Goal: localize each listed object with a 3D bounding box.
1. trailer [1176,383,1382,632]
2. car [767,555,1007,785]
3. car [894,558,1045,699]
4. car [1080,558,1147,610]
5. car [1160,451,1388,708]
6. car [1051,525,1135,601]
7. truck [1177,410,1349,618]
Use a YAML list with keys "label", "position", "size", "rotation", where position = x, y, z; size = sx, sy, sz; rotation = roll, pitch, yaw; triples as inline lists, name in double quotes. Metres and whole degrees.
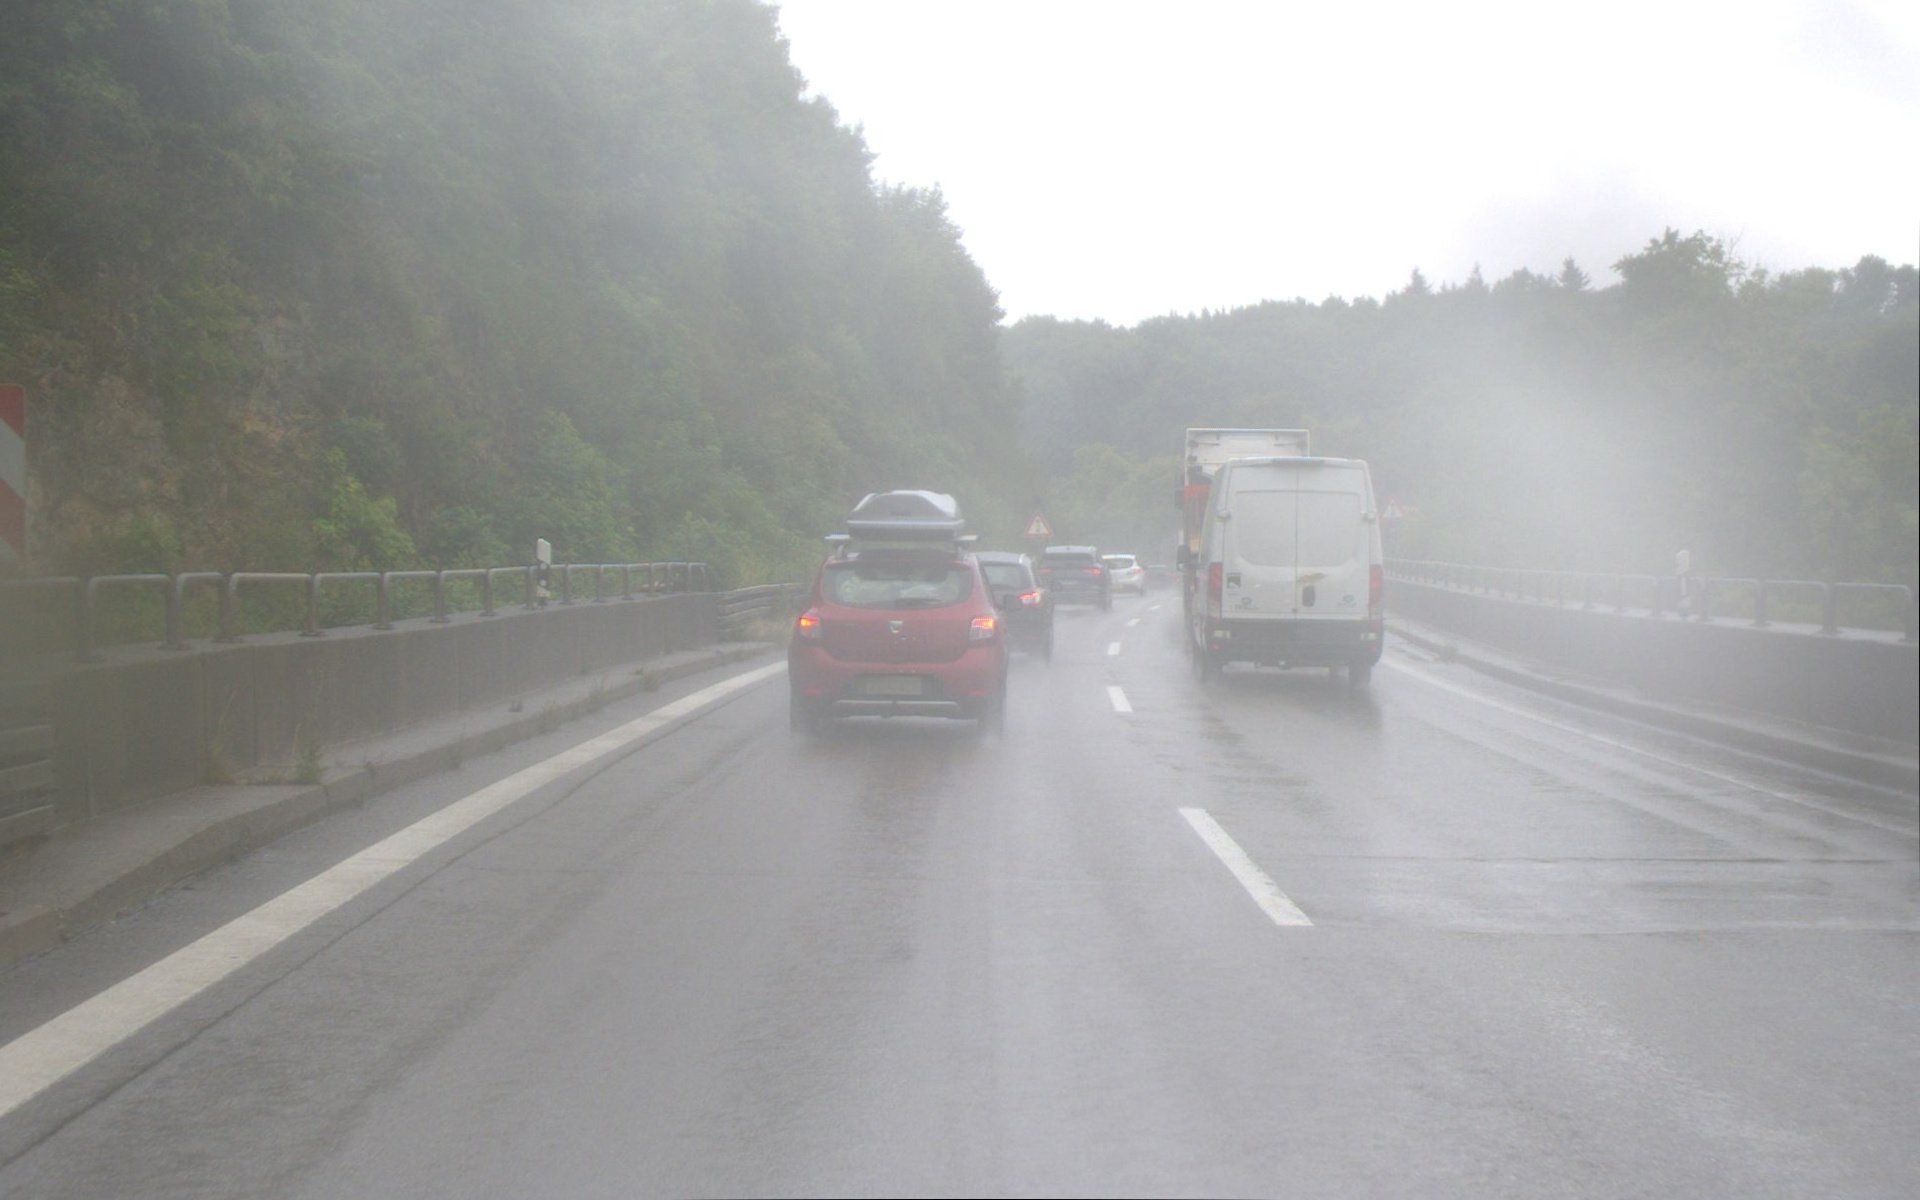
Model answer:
- label: "trailer"
  position: [5.606, -1.593, 62.563]
  size: [3.219, 3.985, 13.522]
  rotation: [-1, 1, 3]
- label: "car"
  position: [-0.554, 0.519, 28.413]
  size: [1.758, 1.679, 4.000]
  rotation: [-3, 0, 0]
- label: "car"
  position: [0.122, 0.345, 45.687]
  size: [1.833, 1.709, 3.645]
  rotation: [-3, 0, 0]
- label: "car"
  position: [5.177, -0.554, 115.579]
  size: [1.994, 1.634, 3.999]
  rotation: [-3, 0, 5]
- label: "car"
  position: [3.629, -0.278, 41.072]
  size: [2.206, 2.784, 7.382]
  rotation: [0, 1, 1]
- label: "car"
  position: [3.257, -0.900, 83.591]
  size: [1.875, 1.700, 3.888]
  rotation: [-3, 0, 4]
- label: "truck"
  position: [6.001, -1.687, 68.820]
  size: [3.220, 3.964, 5.438]
  rotation: [-1, 1, 4]
